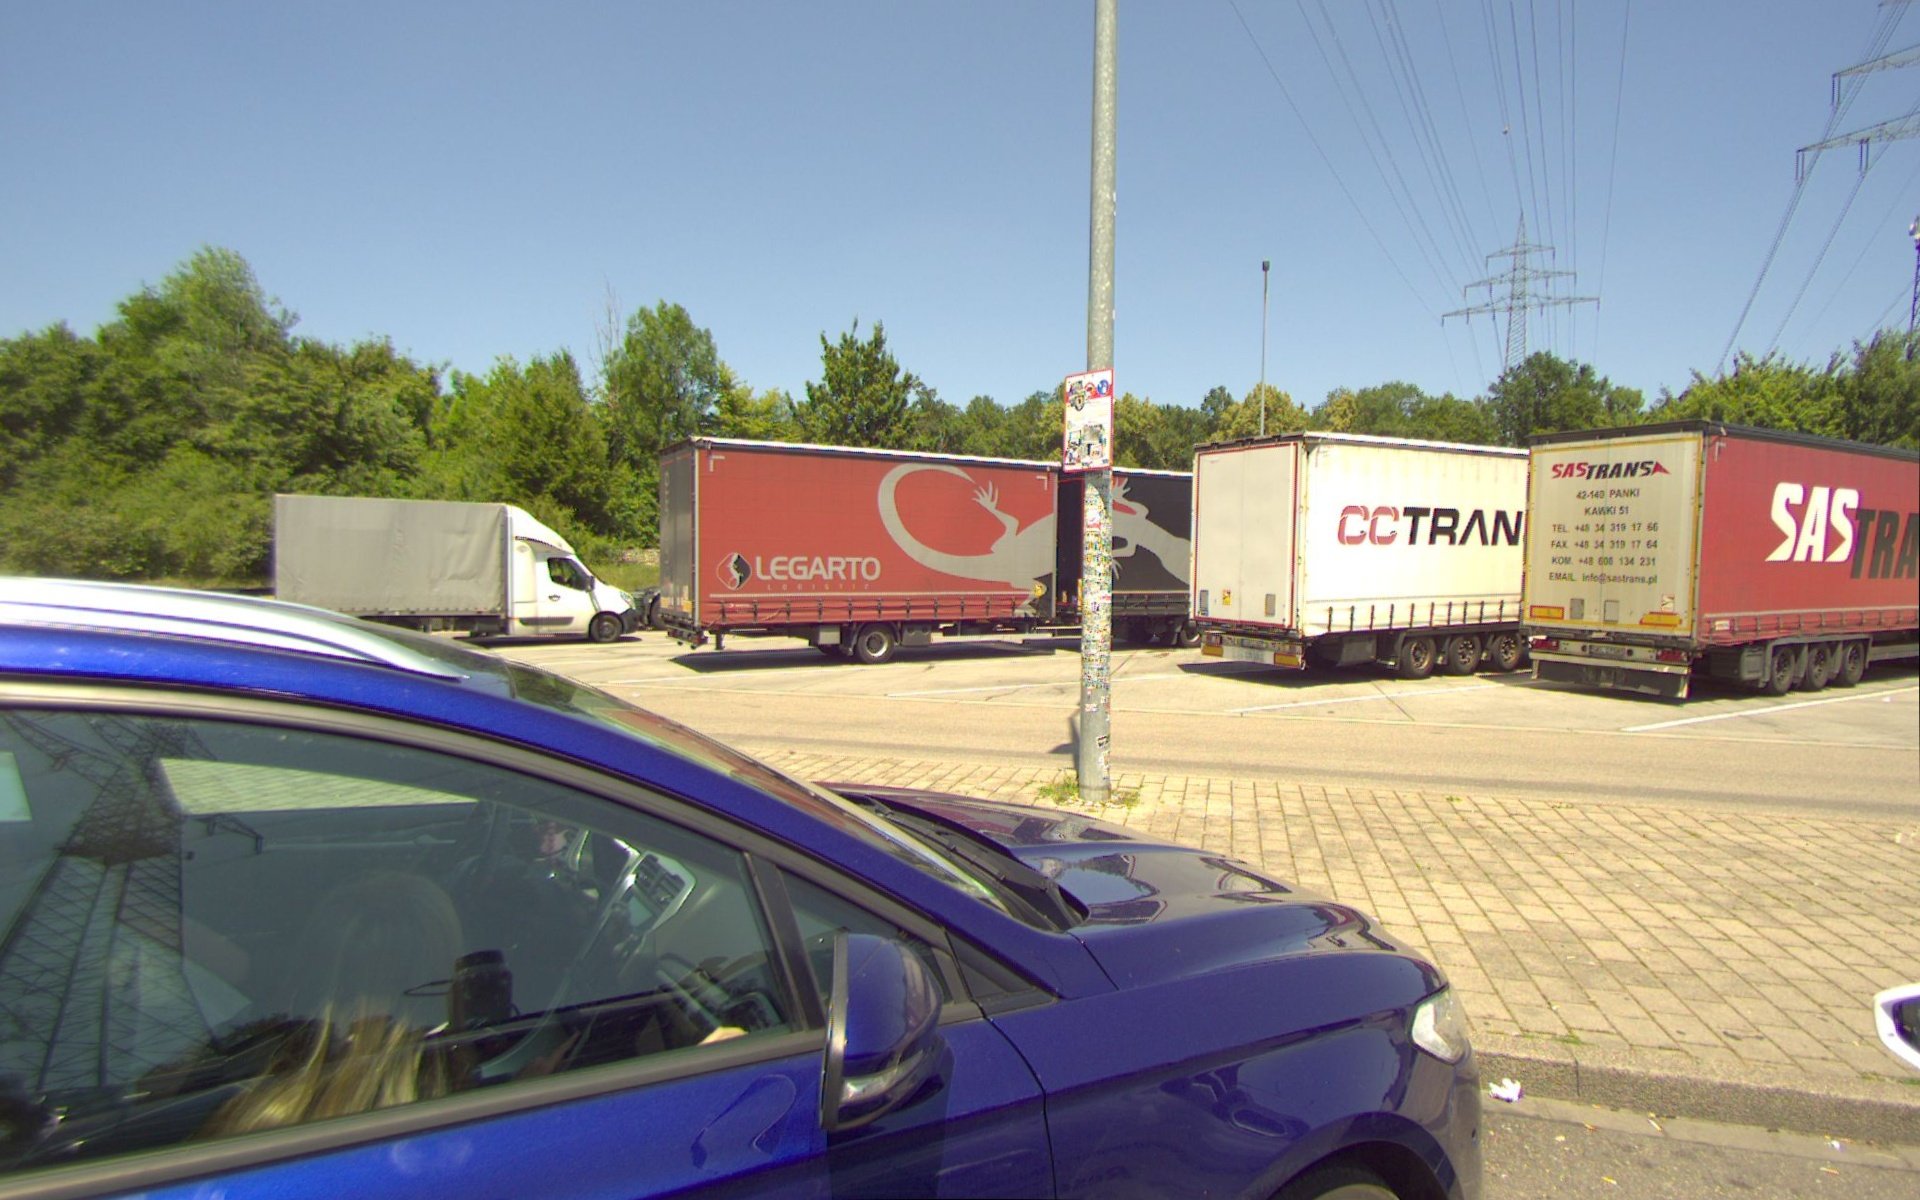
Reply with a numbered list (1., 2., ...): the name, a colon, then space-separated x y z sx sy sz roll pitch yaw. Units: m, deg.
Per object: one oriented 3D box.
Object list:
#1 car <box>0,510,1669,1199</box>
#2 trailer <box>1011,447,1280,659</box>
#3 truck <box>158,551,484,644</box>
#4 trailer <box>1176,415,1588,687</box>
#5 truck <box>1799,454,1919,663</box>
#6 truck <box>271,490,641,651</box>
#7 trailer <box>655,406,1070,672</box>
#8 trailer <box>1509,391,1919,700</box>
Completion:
1. car: -1.018 0.652 1.484 4.362 1.437 1.731 1 0 -30
2. trailer: 4.496 -0.995 24.069 6.076 4.505 2.665 0 1 -30
3. truck: -15.402 -0.043 24.738 6.538 2.040 1.984 0 0 -30
4. trailer: 8.101 -0.762 18.857 8.189 4.208 2.741 0 1 -30
5. truck: 21.442 -0.824 22.071 5.824 4.189 2.792 0 0 -30
6. truck: -11.129 -0.579 22.719 7.171 3.194 2.160 0 1 -30
7. trailer: -1.788 -1.025 20.211 7.963 4.510 2.648 0 1 -31
8. trailer: 15.258 -0.730 18.437 13.046 4.276 2.786 0 0 -31
